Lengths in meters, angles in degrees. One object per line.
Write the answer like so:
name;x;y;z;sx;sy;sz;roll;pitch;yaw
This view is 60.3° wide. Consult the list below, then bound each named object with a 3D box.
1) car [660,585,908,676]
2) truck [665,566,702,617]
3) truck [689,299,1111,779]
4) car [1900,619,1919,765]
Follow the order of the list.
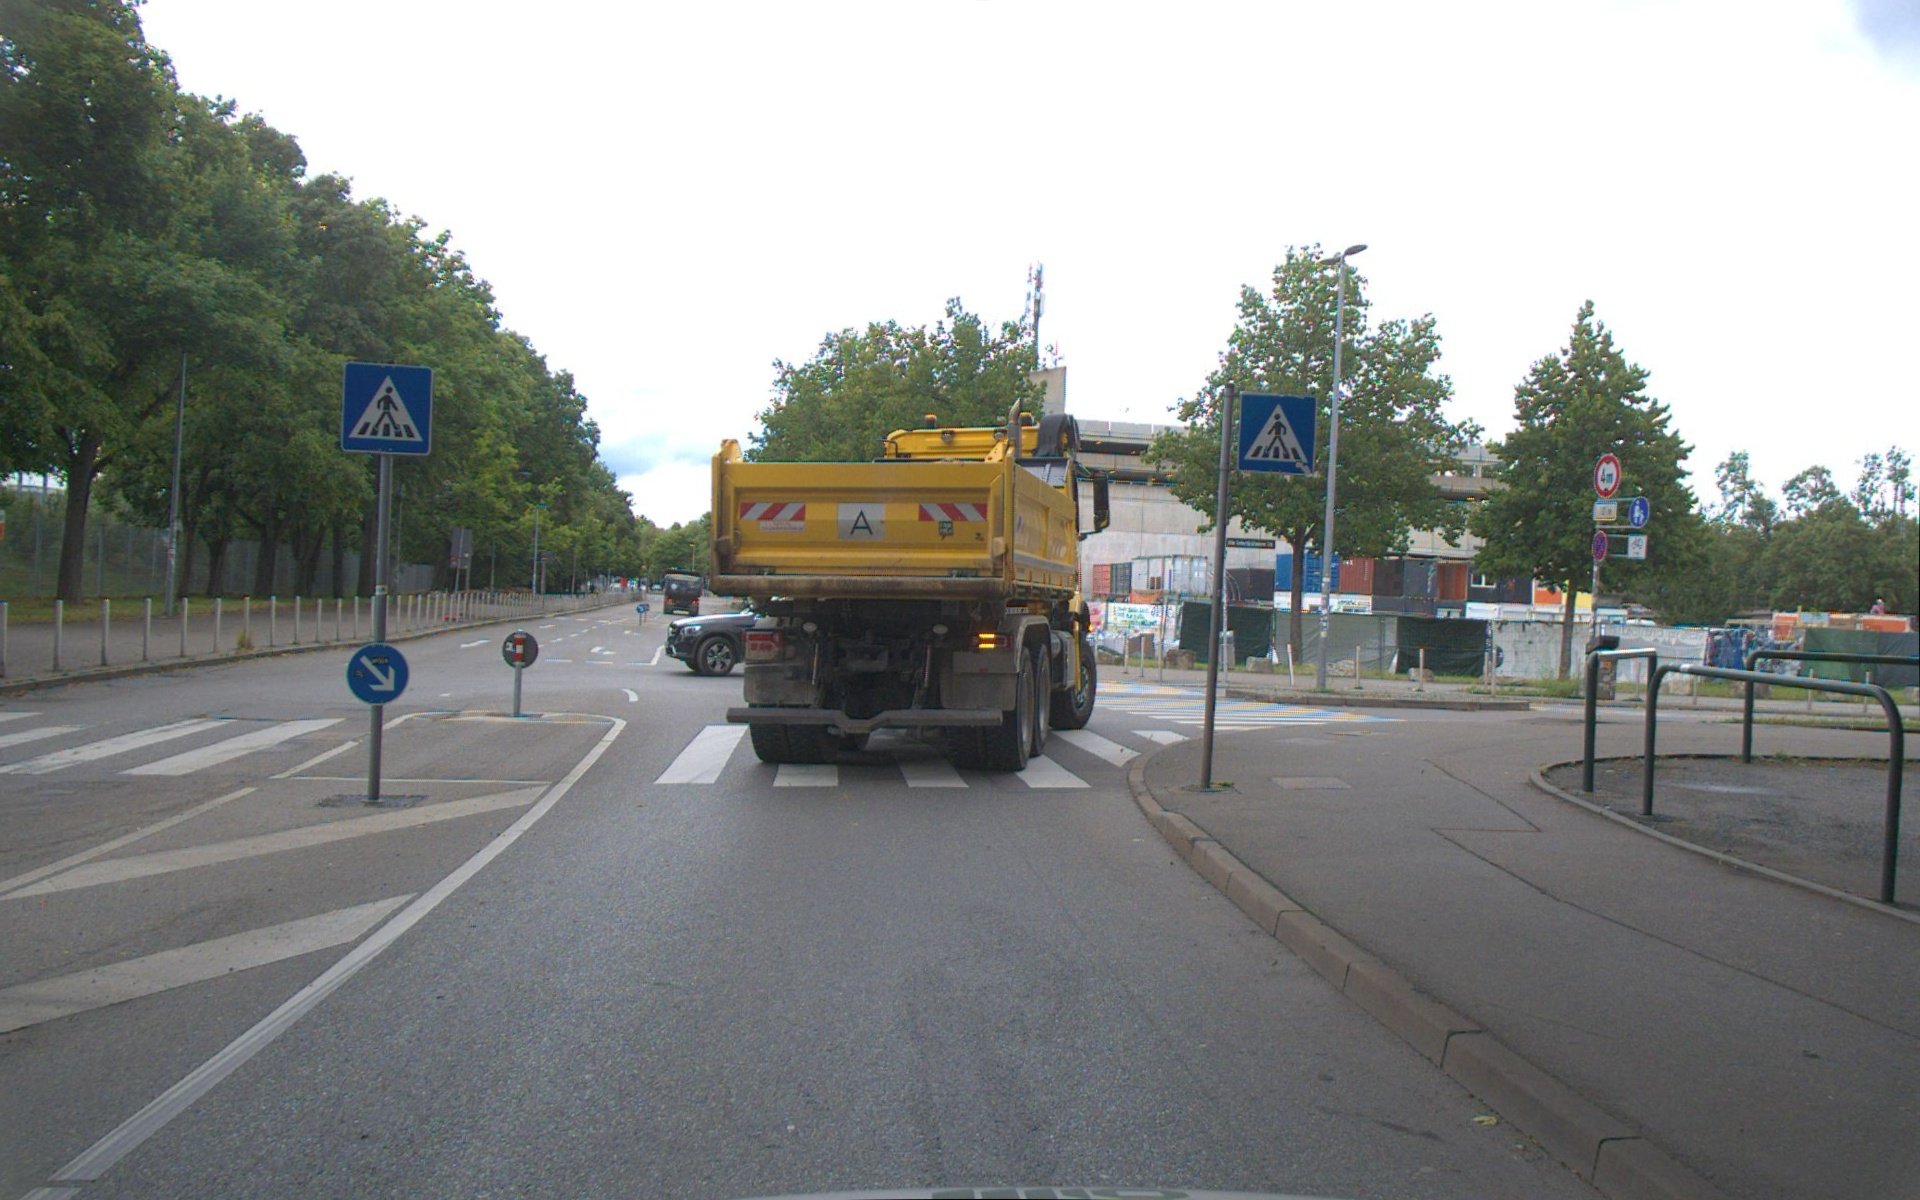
car;-3.404;0.583;31.800;4.462;1.602;1.837;2;0;-17
truck;-20.601;-0.566;123.018;2.625;3.621;7.903;0;-1;-10
truck;-0.156;-0.440;17.094;2.699;3.763;7.886;0;-1;10
car;10.866;0.966;15.313;3.622;1.352;1.506;2;2;-12
